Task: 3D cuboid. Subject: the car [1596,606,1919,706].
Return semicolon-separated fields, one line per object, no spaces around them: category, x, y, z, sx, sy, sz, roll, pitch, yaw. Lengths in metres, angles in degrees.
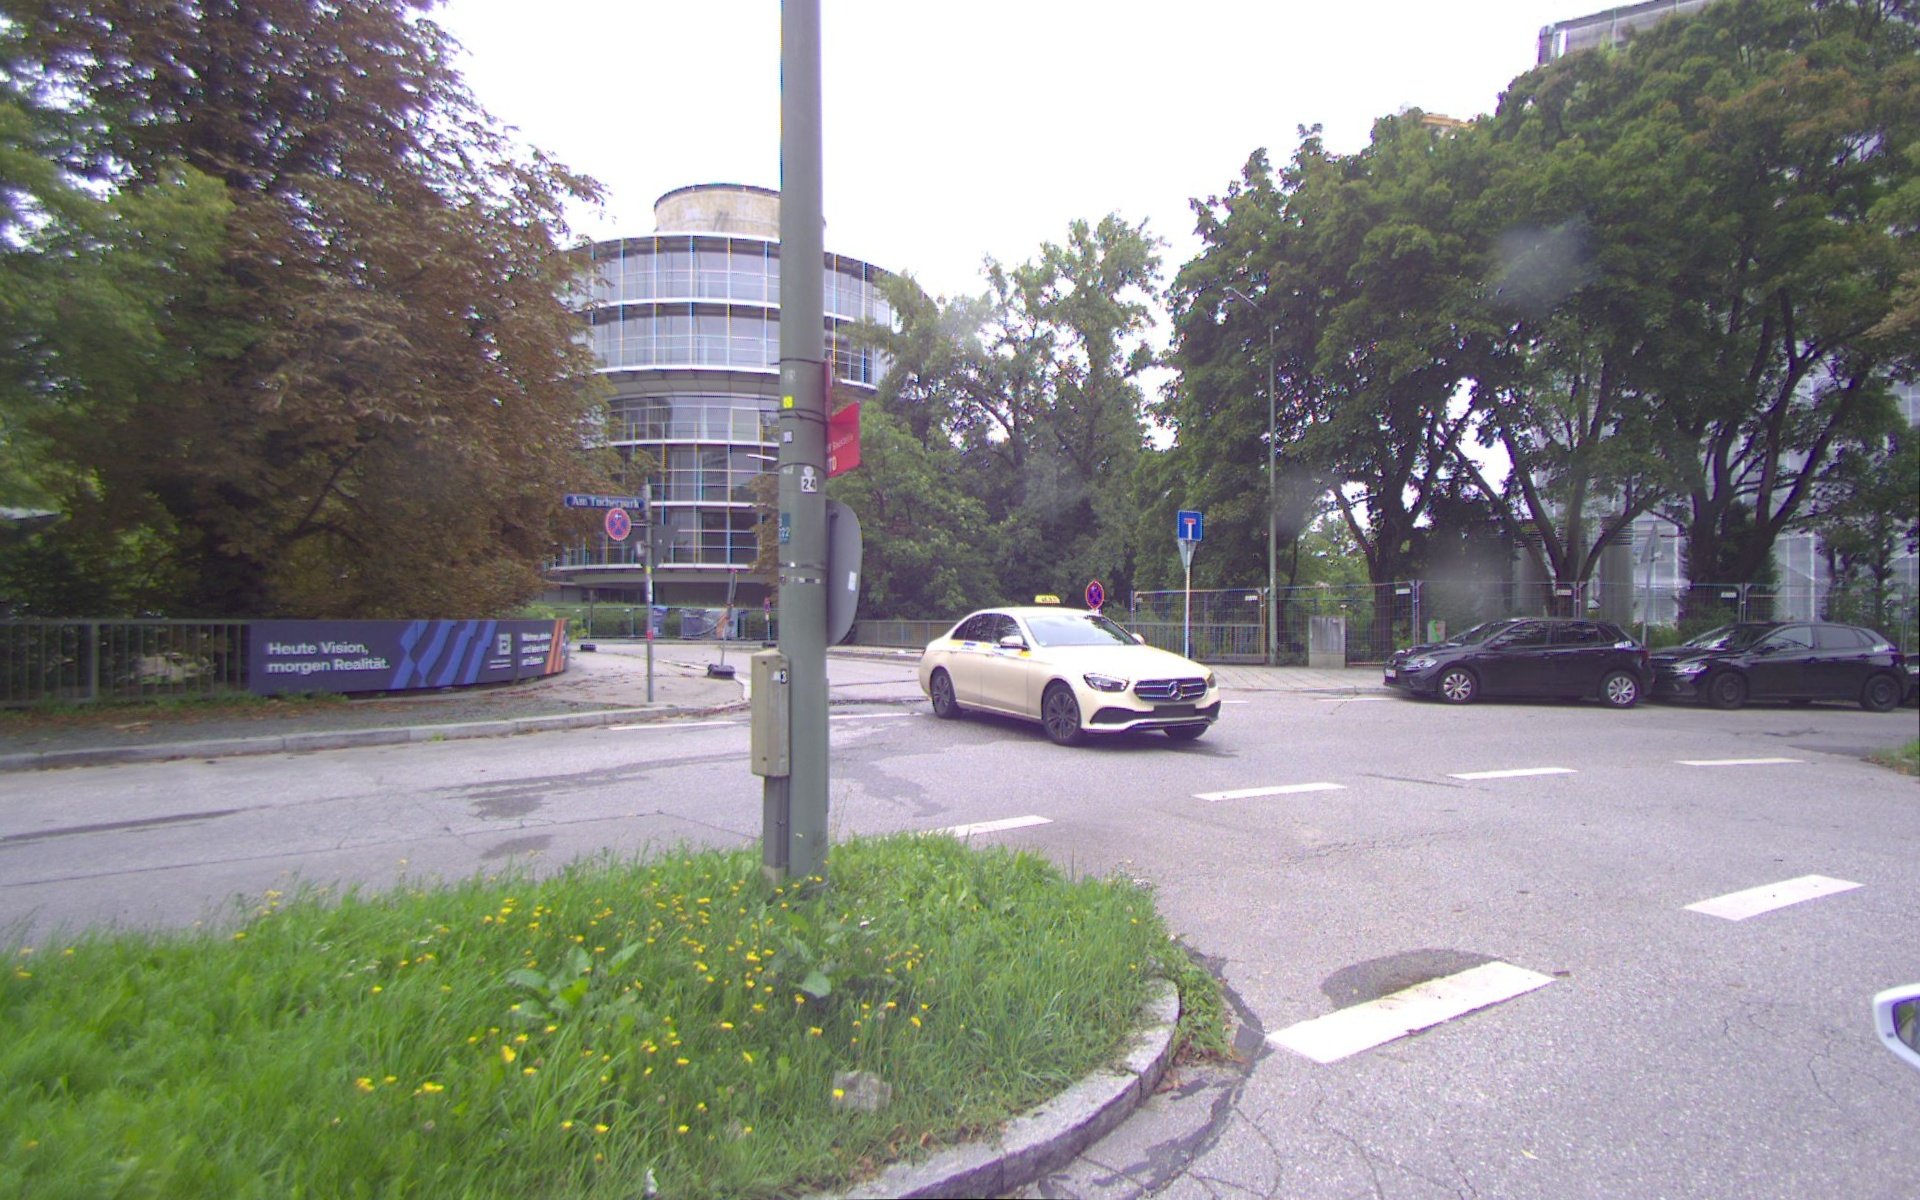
car;13.394;0.919;17.063;3.920;1.561;2.001;0;-1;2

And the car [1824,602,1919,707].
car;17.725;0.940;17.312;3.920;1.728;2.001;1;-1;2

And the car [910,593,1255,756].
car;1.196;0.756;12.249;1.869;1.566;4.821;1;-1;-26

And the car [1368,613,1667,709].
car;9.334;0.990;17.098;3.961;1.452;2.000;0;1;3
